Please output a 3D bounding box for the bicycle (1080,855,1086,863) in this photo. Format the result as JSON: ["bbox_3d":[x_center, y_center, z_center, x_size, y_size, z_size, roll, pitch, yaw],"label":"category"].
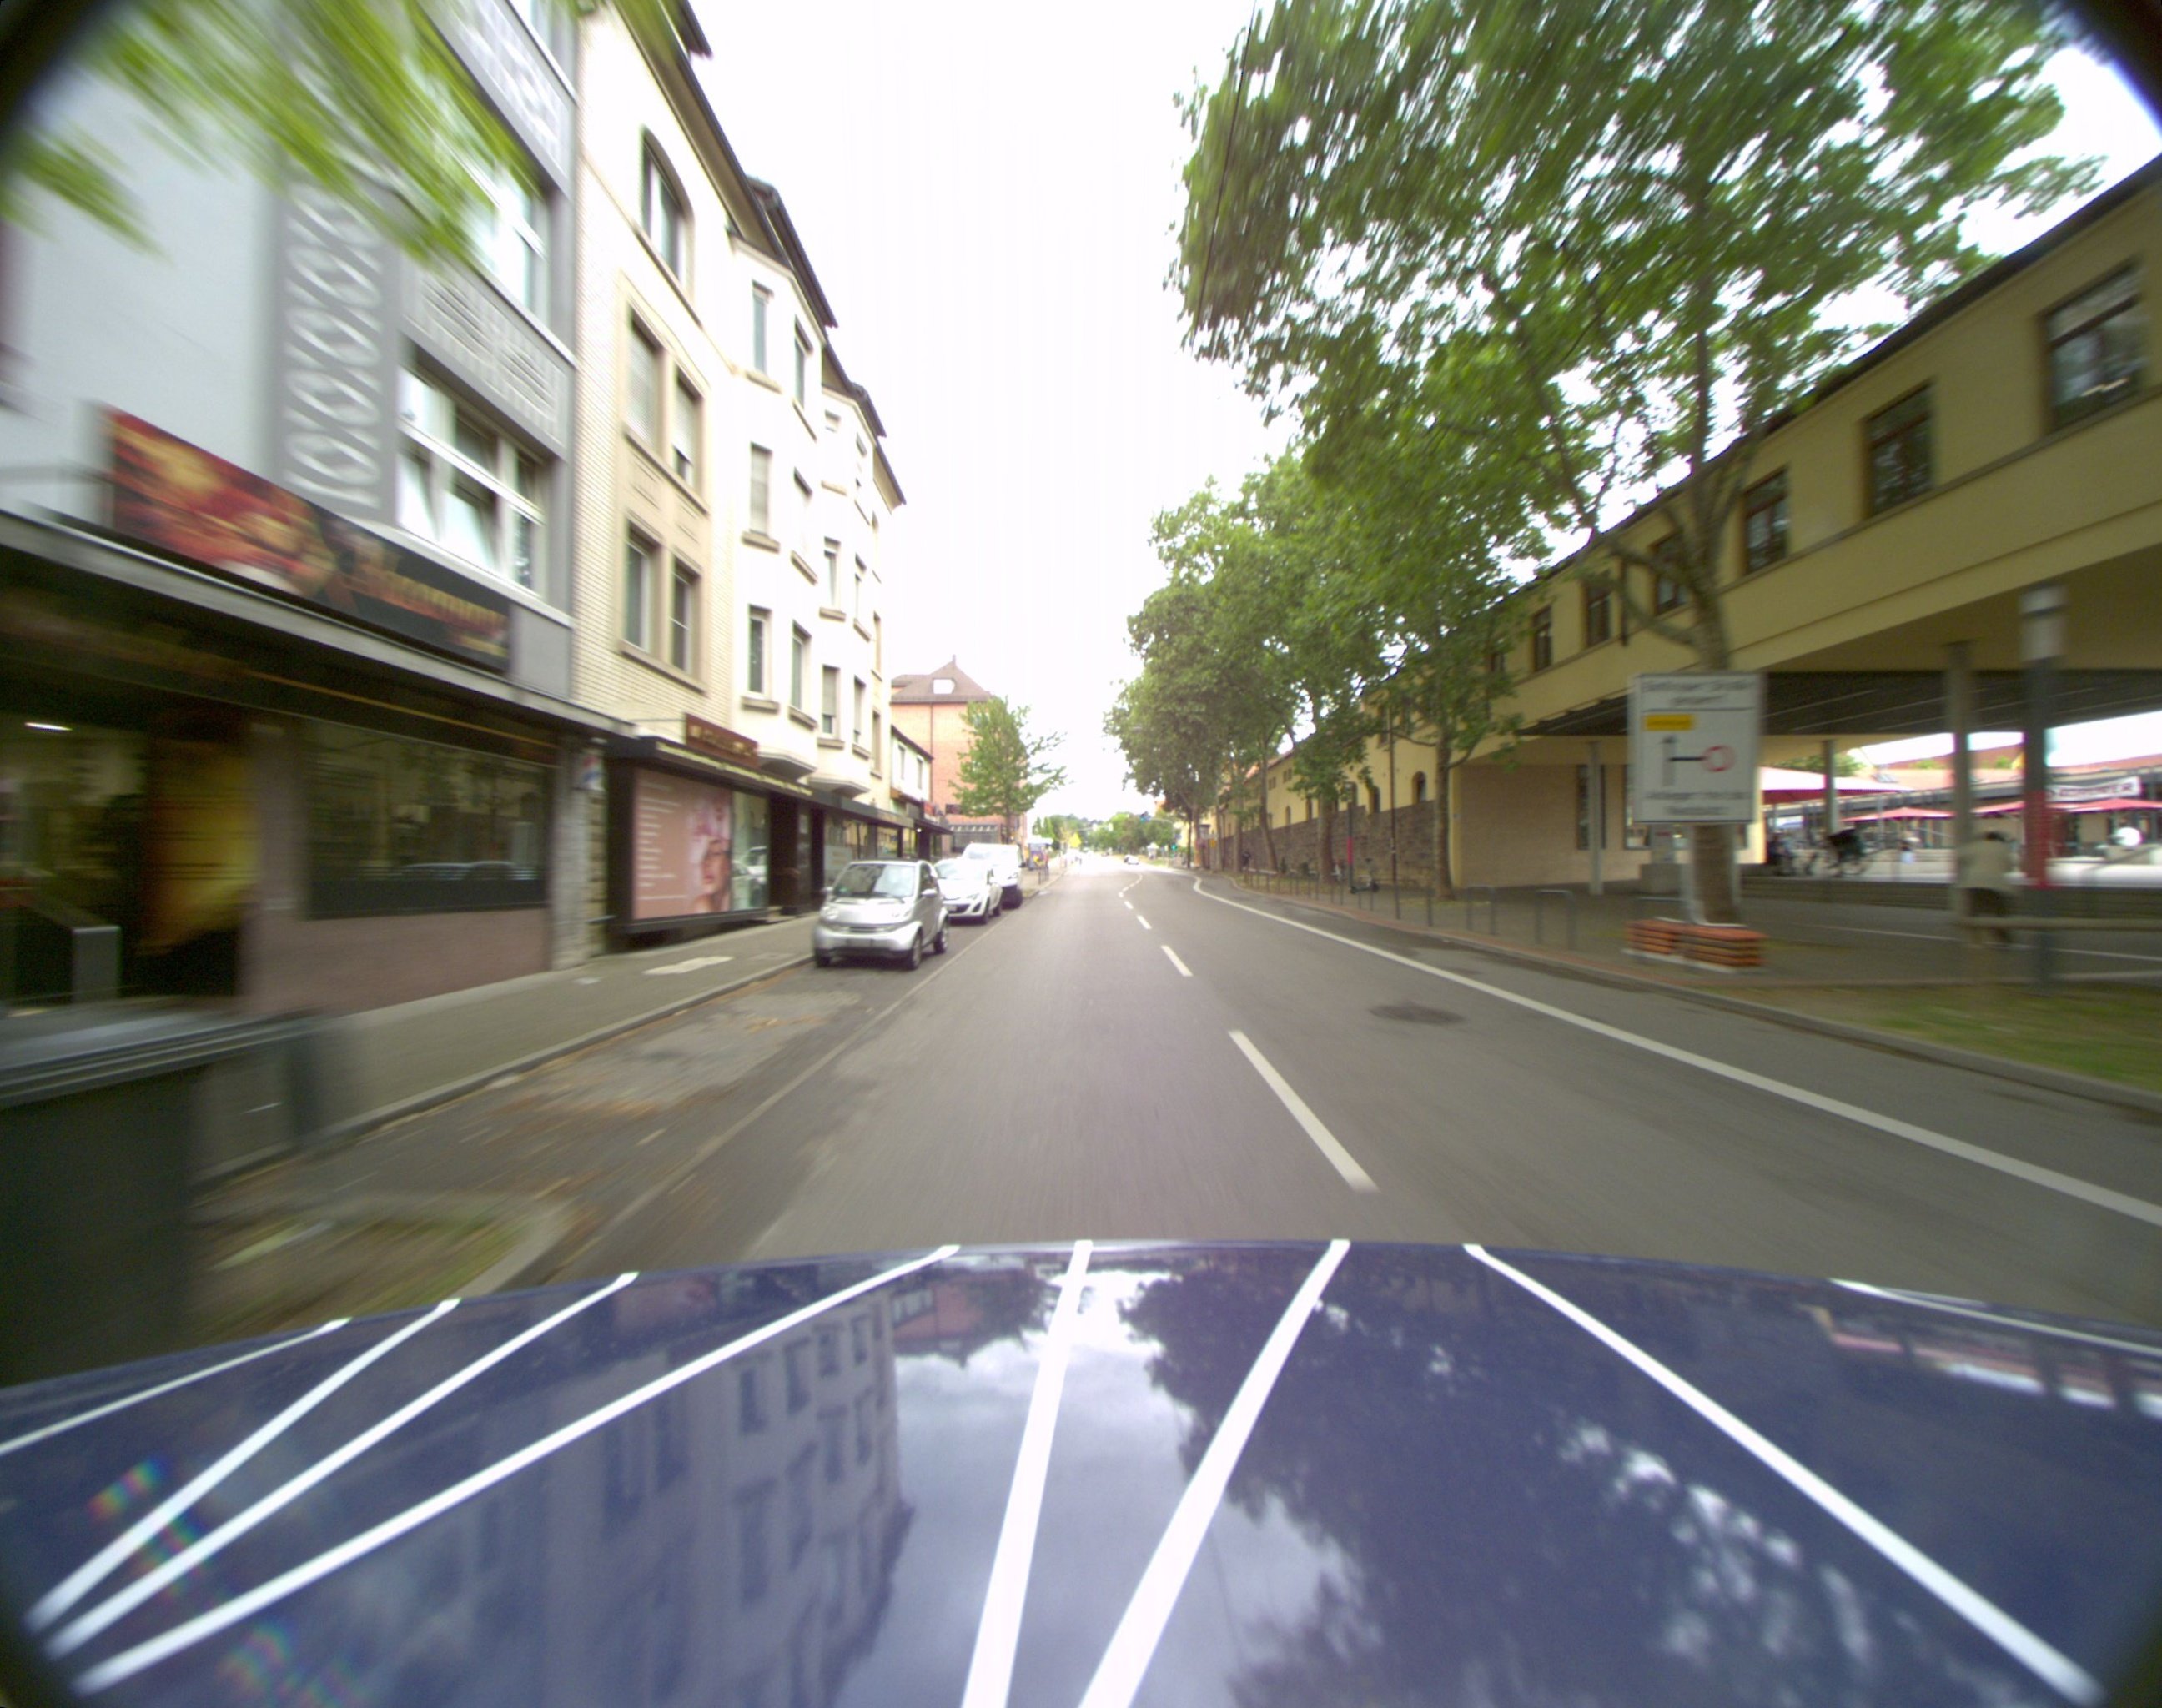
[{"bbox_3d":[0.286,0.604,97.211,0.368,0.986,1.723,-1,1,15],"label":"bicycle"}]

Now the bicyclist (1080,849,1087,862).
[{"bbox_3d":[0.343,0.164,97.451,0.681,1.619,0.751,-2,1,17],"label":"bicyclist"}]

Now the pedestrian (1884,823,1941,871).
[{"bbox_3d":[27.072,-0.229,24.745,0.811,1.513,0.964,-1,1,1],"label":"pedestrian"}]

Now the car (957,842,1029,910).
[{"bbox_3d":[-2.677,0.641,24.150,1.911,1.919,4.919,1,0,-2],"label":"car"}]

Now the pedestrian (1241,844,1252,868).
[{"bbox_3d":[12.886,0.136,59.239,0.673,1.865,0.816,-1,1,2],"label":"pedestrian"}]

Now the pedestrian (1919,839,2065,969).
[{"bbox_3d":[12.428,0.660,10.407,0.863,1.678,0.927,-2,1,10],"label":"pedestrian"}]

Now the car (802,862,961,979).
[{"bbox_3d":[-2.955,0.914,11.958,1.485,1.525,3.522,1,0,1],"label":"car"}]

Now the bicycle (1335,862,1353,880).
[{"bbox_3d":[13.271,0.856,38.391,0.336,0.841,1.776,-1,0,1],"label":"bicycle"}]

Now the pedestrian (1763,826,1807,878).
[{"bbox_3d":[20.743,-0.076,22.400,0.575,1.480,0.760,-2,2,3],"label":"pedestrian"}]

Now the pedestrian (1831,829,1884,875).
[{"bbox_3d":[26.602,-0.050,26.051,0.811,1.513,0.964,-3,0,1],"label":"pedestrian"}]

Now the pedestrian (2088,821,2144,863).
[{"bbox_3d":[38.651,-0.439,28.379,0.963,1.513,0.811,-3,0,0],"label":"pedestrian"}]

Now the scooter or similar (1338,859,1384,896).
[{"bbox_3d":[9.977,0.836,27.092,1.622,1.233,0.446,-3,1,-21],"label":"scooter or similar"}]

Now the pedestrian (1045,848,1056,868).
[{"bbox_3d":[-3.057,0.381,76.694,0.785,2.002,0.859,-1,1,22],"label":"pedestrian"}]

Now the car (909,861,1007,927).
[{"bbox_3d":[-2.904,0.887,18.679,1.687,1.407,4.042,1,0,1],"label":"car"}]

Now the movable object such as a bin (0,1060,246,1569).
[{"bbox_3d":[-2.830,1.139,1.939,0.624,1.018,0.696,-1,0,-7],"label":"movable object such as a bin"}]

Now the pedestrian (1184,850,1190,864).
[{"bbox_3d":[13.187,0.339,94.193,0.625,1.652,0.549,-2,1,3],"label":"pedestrian"}]

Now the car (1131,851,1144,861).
[{"bbox_3d":[9.678,0.337,129.898,1.919,1.640,3.635,-2,1,8],"label":"car"}]

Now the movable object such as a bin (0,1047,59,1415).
[{"bbox_3d":[-3.594,1.144,2.097,0.696,1.067,0.624,-1,1,6],"label":"movable object such as a bin"}]

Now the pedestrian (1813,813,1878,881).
[{"bbox_3d":[20.602,-0.183,20.502,0.810,1.780,0.905,-2,0,6],"label":"pedestrian"}]
